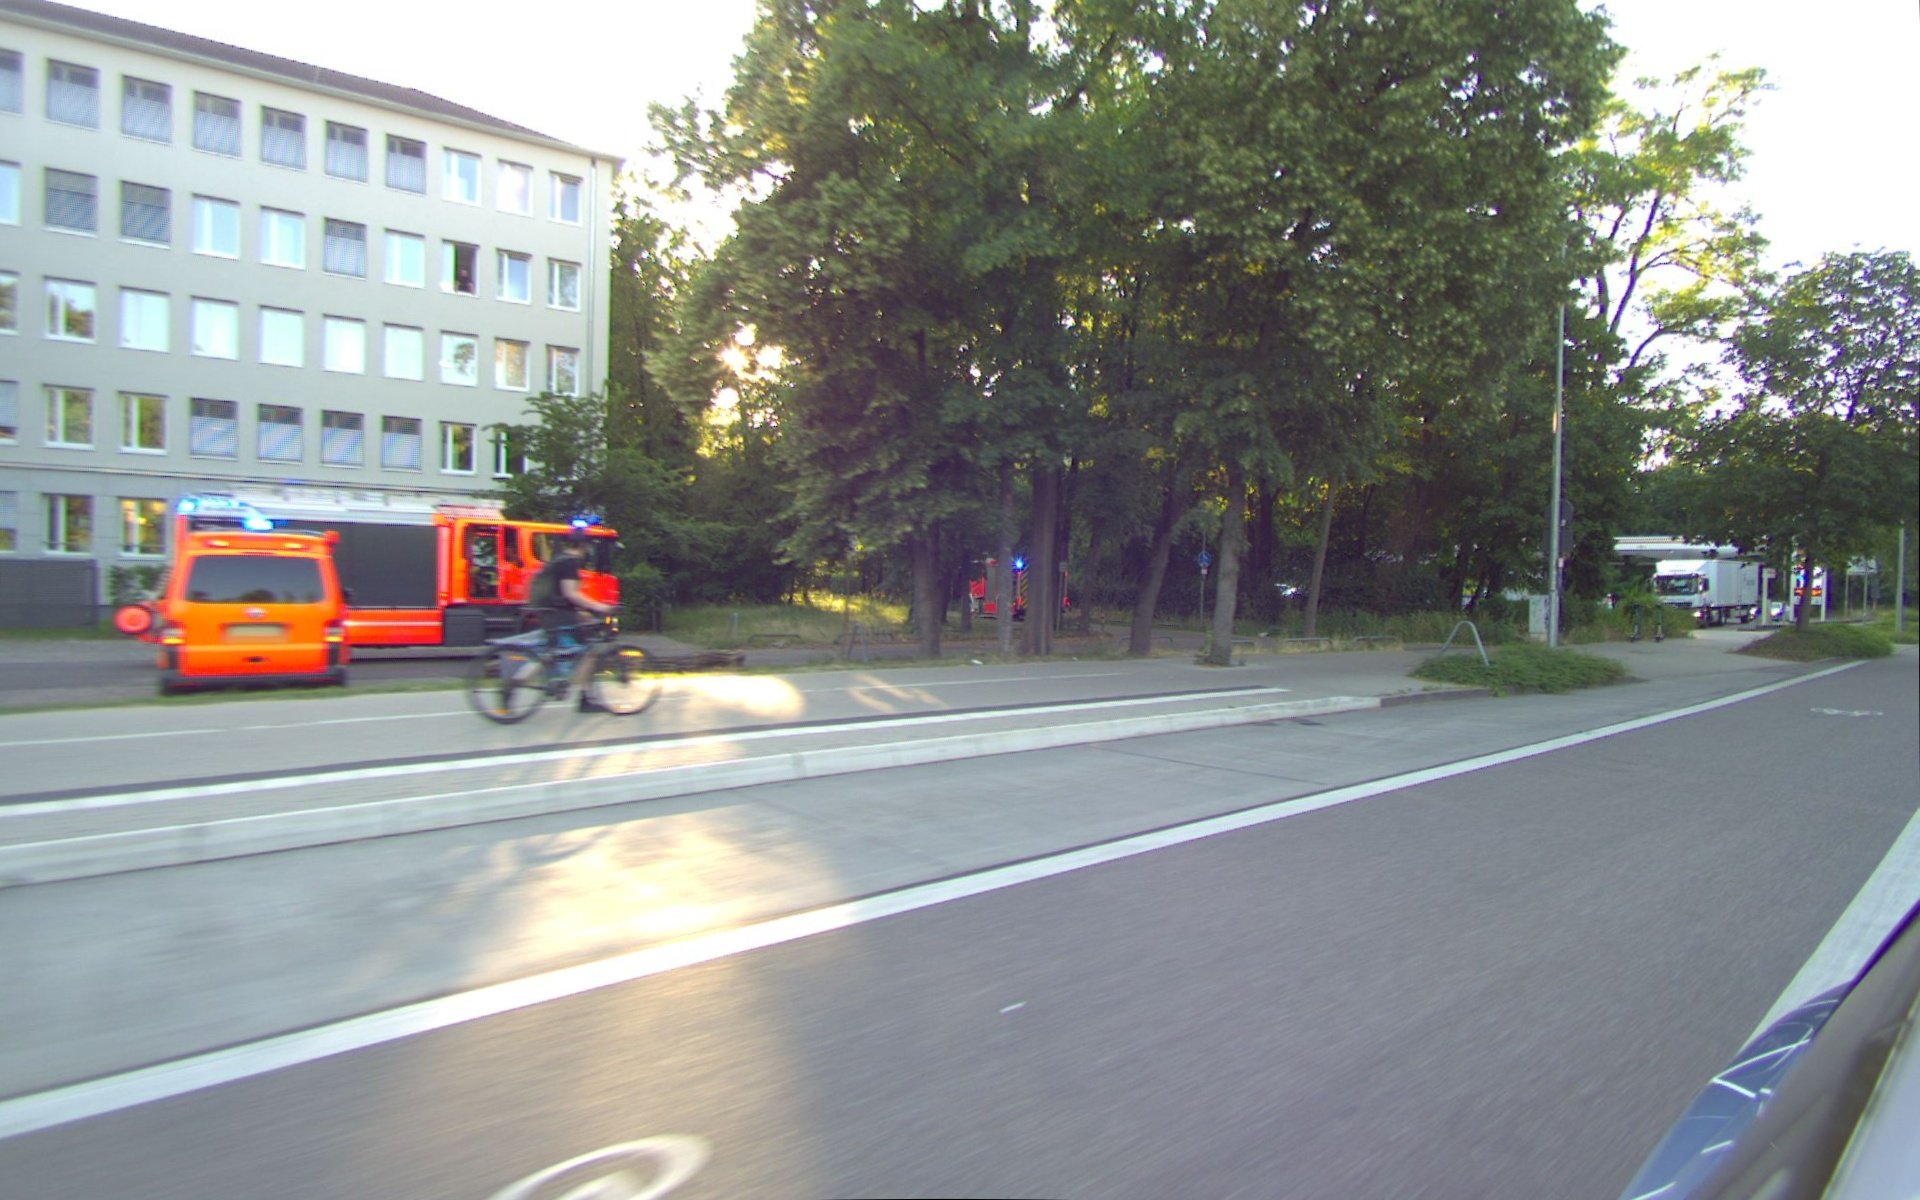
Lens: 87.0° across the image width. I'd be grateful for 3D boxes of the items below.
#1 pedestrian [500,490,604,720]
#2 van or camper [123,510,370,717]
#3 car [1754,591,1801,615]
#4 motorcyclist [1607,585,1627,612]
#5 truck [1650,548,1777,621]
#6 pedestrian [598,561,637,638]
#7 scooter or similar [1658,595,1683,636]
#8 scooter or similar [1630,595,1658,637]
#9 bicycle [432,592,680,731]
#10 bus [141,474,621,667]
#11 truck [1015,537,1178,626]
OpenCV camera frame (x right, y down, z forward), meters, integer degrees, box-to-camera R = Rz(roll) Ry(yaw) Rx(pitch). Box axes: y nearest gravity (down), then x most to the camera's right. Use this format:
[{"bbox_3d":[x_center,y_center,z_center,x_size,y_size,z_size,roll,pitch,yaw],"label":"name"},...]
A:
[{"bbox_3d":[-3.826,0.033,9.482,0.683,2.038,0.724,0,2,-41],"label":"pedestrian"},{"bbox_3d":[-9.386,0.135,13.782,2.249,2.273,4.834,0,0,-29],"label":"van or camper"},{"bbox_3d":[57.704,0.211,71.374,4.631,1.611,1.995,0,0,-43],"label":"car"},{"bbox_3d":[50.282,-0.109,77.456,1.057,2.039,1.008,0,0,-41],"label":"motorcyclist"},{"bbox_3d":[44.444,-0.835,59.377,15.617,3.776,3.222,0,0,-43],"label":"truck"},{"bbox_3d":[-9.323,-0.017,27.570,0.770,2.039,0.762,0,0,-41],"label":"pedestrian"},{"bbox_3d":[23.120,0.488,32.932,0.482,1.298,1.122,3,2,43],"label":"scooter or similar"},{"bbox_3d":[21.820,0.493,32.280,0.482,1.298,1.212,3,2,43],"label":"scooter or similar"},{"bbox_3d":[-3.655,0.501,9.267,1.935,1.111,0.832,0,2,-42],"label":"bicycle"},{"bbox_3d":[-11.141,-0.504,20.283,7.806,3.236,3.000,0,0,-31],"label":"bus"},{"bbox_3d":[5.298,-0.753,41.444,2.703,3.251,8.683,1,1,-21],"label":"truck"}]
